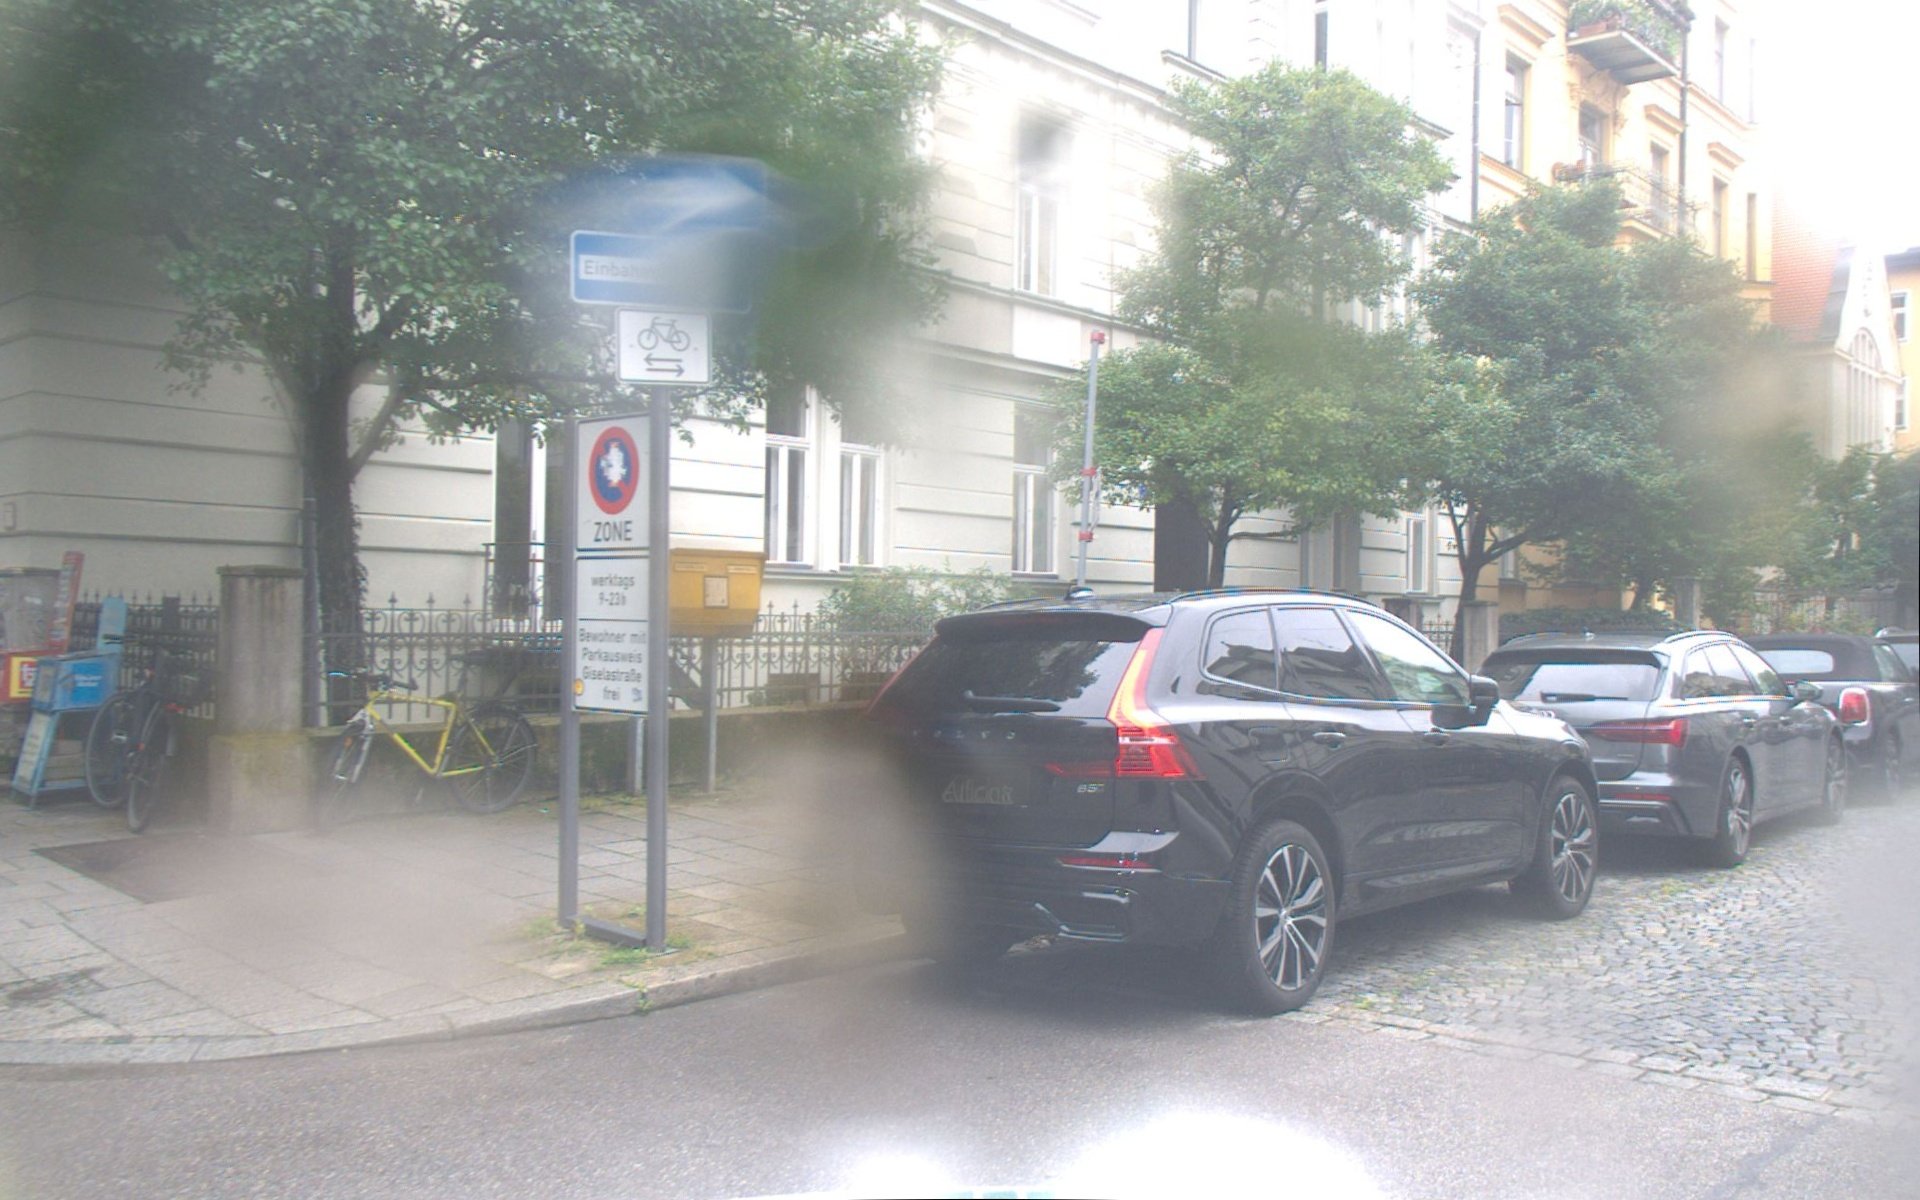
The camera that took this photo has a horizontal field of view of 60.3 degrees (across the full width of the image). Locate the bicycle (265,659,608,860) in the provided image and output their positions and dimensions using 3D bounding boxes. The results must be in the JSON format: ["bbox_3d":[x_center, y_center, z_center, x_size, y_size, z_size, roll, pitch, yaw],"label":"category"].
[{"bbox_3d":[-3.107,0.907,9.959,1.913,1.046,0.548,1,1,-43],"label":"bicycle"}]

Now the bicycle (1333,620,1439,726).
[{"bbox_3d":[4.929,0.819,19.049,0.357,1.152,1.876,2,0,41],"label":"bicycle"}]

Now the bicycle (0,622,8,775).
[{"bbox_3d":[-7.500,0.693,12.292,0.542,1.079,1.728,1,0,-36],"label":"bicycle"}]

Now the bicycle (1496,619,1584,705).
[{"bbox_3d":[7.945,0.824,22.615,1.820,1.121,0.366,1,0,-45],"label":"bicycle"}]

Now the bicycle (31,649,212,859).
[{"bbox_3d":[-5.015,0.866,9.836,0.428,1.046,1.860,1,1,-44],"label":"bicycle"}]

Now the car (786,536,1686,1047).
[{"bbox_3d":[1.663,0.728,7.998,1.909,1.681,5.024,-4,-4,41],"label":"car"}]

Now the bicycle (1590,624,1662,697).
[{"bbox_3d":[10.020,0.895,24.868,0.412,1.045,1.754,2,0,42],"label":"bicycle"}]

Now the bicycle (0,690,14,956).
[{"bbox_3d":[-4.864,0.854,6.810,2.153,1.046,0.655,2,1,29],"label":"bicycle"}]

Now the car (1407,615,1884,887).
[{"bbox_3d":[5.150,0.901,11.930,1.776,1.531,5.152,-3,-2,39],"label":"car"}]

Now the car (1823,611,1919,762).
[{"bbox_3d":[11.365,0.945,18.842,1.701,1.567,4.311,-4,-4,41],"label":"car"}]

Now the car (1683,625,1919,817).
[{"bbox_3d":[8.197,1.026,15.420,1.677,1.543,3.707,-2,-2,40],"label":"car"}]

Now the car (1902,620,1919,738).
[{"bbox_3d":[14.734,1.054,23.132,1.893,1.574,3.976,-4,-4,41],"label":"car"}]

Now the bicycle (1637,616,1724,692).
[{"bbox_3d":[11.375,0.854,26.103,1.745,1.163,0.414,2,0,-36],"label":"bicycle"}]
